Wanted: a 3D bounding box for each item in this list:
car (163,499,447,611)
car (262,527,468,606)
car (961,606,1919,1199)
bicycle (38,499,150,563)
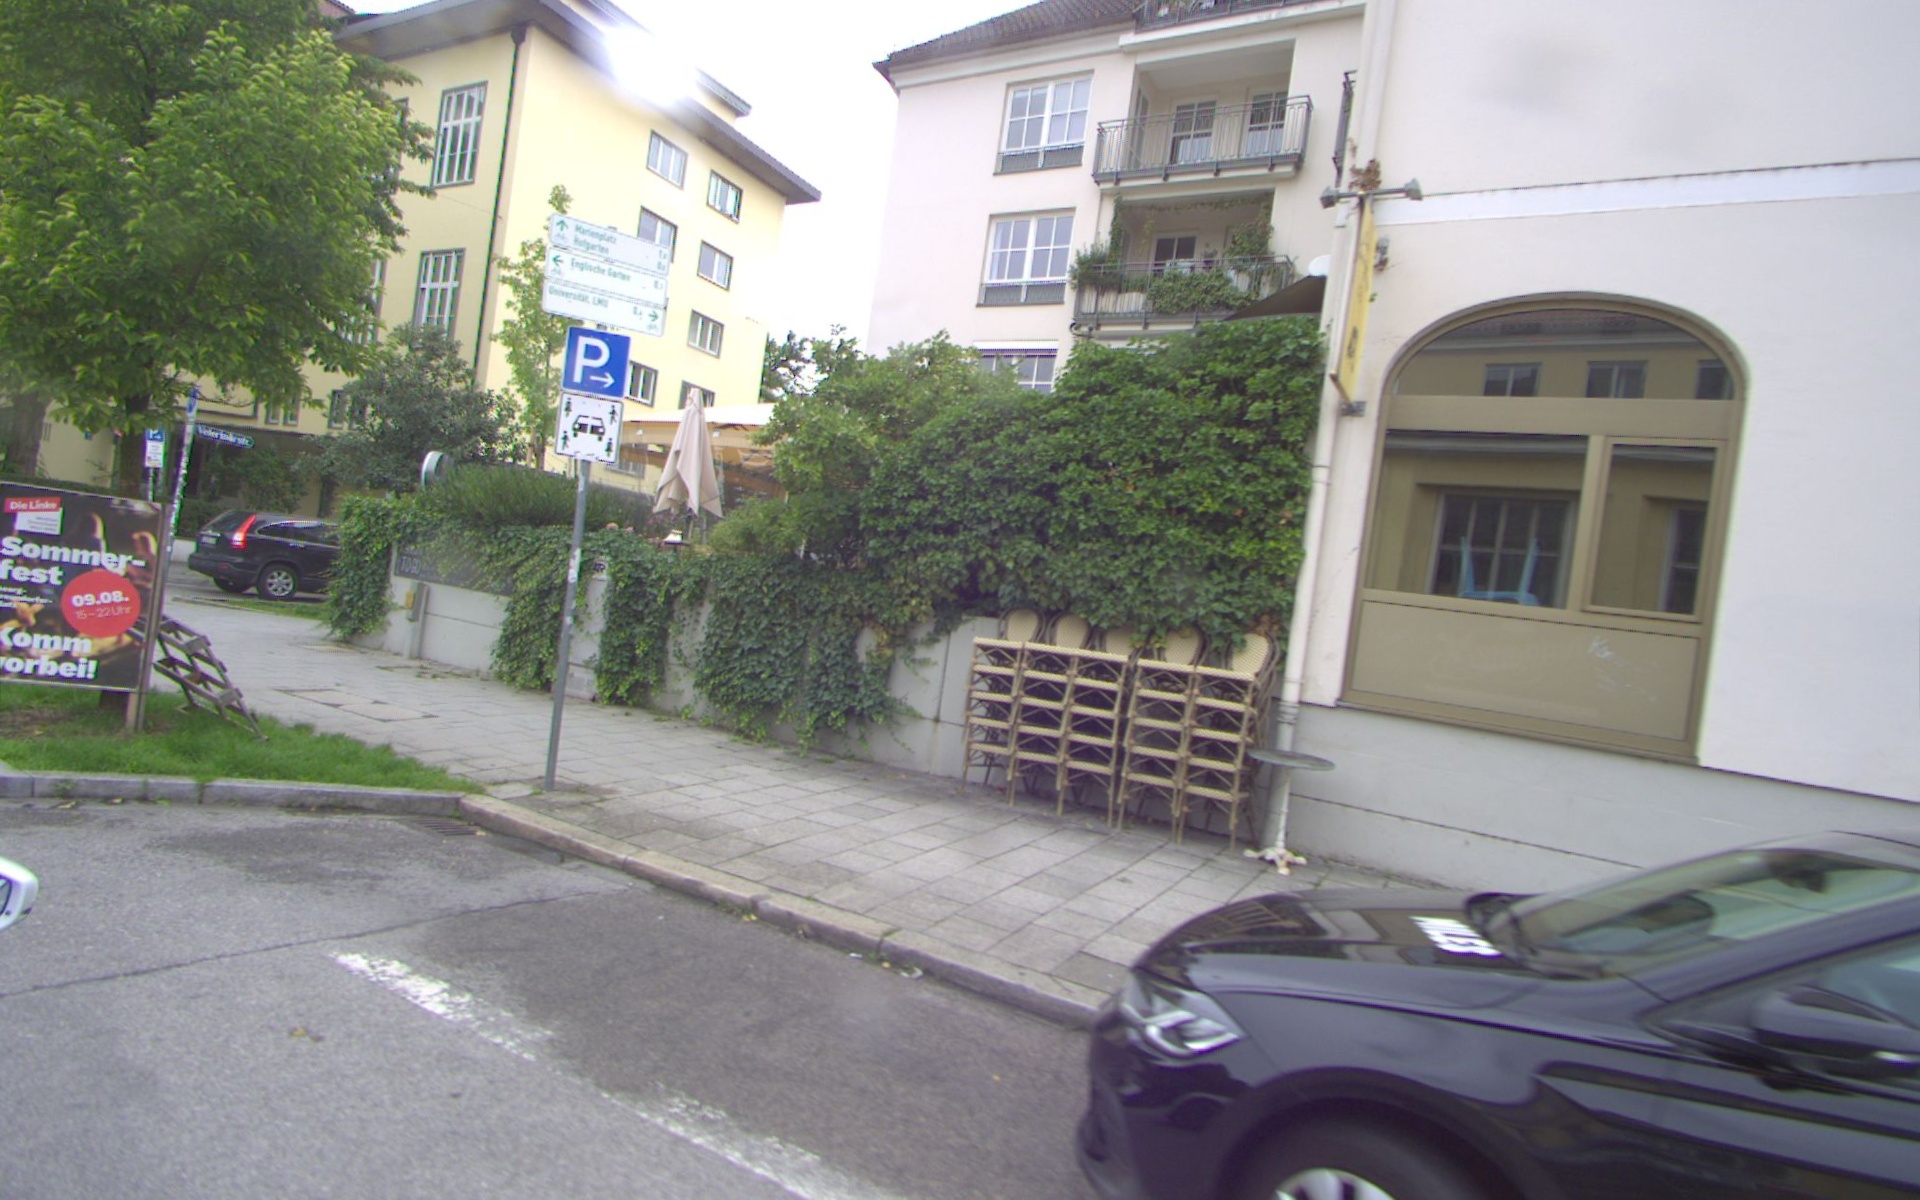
[{"bbox_3d":[-13.199,-0.842,20.576,1.967,1.715,4.373,8,1,28],"label":"car"},{"bbox_3d":[-14.392,-0.763,24.552,1.579,1.453,3.980,6,0,32],"label":"car"},{"bbox_3d":[2.190,1.112,2.285,3.890,1.533,1.711,7,-4,28],"label":"car"},{"bbox_3d":[-19.412,-1.531,22.586,0.600,1.163,1.736,7,0,35],"label":"bicycle"}]
